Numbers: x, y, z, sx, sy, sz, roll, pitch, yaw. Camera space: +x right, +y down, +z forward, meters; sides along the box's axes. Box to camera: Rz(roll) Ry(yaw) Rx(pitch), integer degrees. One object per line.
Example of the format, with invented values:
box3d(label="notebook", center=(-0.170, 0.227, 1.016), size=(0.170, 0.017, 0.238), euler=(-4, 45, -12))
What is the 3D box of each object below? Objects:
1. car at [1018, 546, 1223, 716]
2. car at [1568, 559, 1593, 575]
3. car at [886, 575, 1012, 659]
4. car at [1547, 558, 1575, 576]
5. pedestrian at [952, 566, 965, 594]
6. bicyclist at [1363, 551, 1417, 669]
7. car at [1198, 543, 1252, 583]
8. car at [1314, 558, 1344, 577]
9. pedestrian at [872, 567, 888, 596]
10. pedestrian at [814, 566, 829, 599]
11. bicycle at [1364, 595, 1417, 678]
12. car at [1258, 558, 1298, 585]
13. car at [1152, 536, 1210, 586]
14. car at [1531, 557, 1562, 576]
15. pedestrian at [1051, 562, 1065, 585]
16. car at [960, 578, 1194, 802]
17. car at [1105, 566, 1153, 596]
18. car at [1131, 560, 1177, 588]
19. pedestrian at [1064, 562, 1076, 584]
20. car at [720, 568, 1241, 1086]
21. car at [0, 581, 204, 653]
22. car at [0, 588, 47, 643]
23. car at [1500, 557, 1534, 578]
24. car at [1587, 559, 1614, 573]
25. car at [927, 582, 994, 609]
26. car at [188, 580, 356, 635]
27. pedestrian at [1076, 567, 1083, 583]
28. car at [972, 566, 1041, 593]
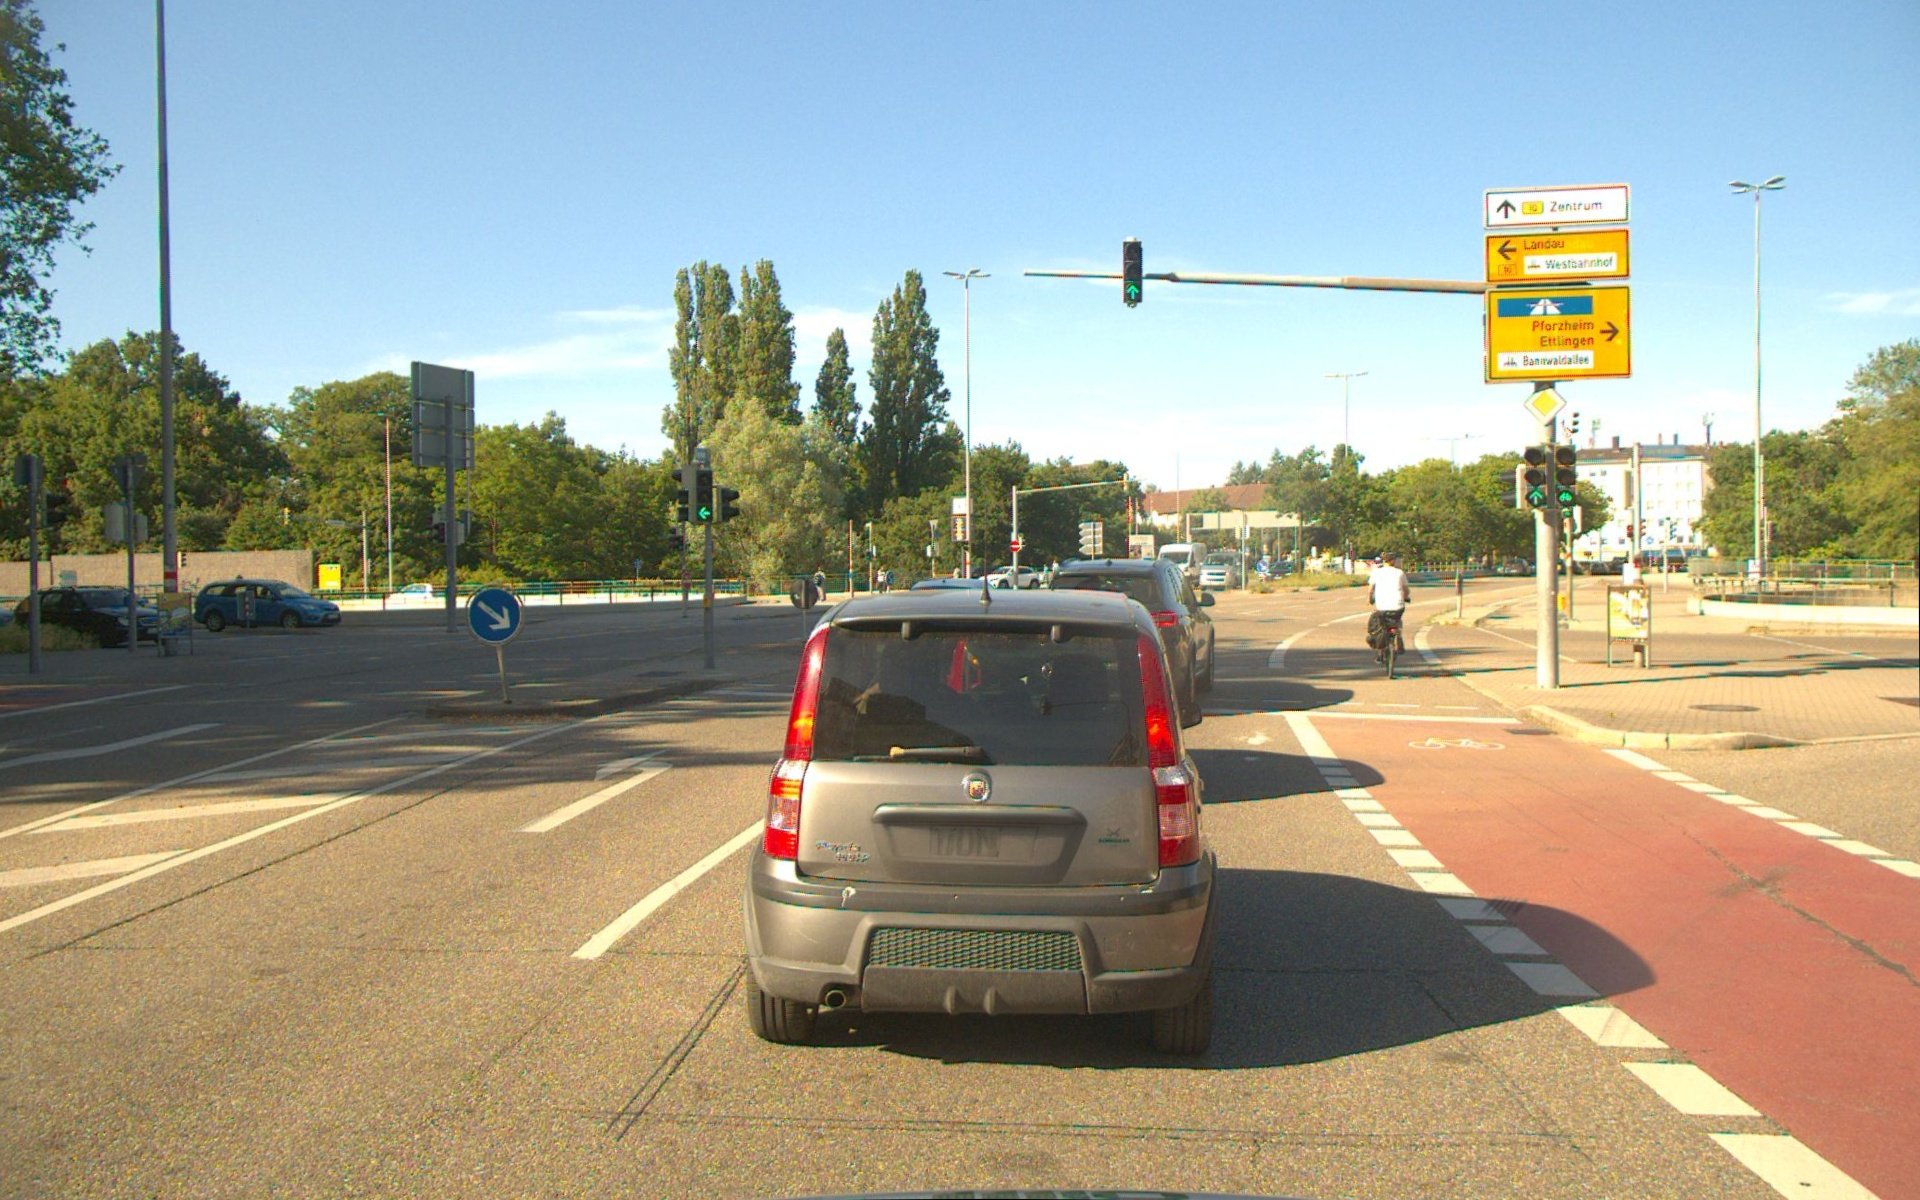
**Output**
box3d(label="car", center=(2.099, 0.296, 20.454), size=(1.904, 1.872, 4.156), euler=(0, 1, 14))
box3d(label="car", center=(62.768, -3.352, 167.320), size=(1.908, 1.555, 4.092), euler=(0, 1, 28))
box3d(label="car", center=(-0.132, 0.274, 31.294), size=(1.742, 1.439, 4.323), euler=(0, 1, 8))
box3d(label="car", center=(55.712, -3.060, 153.340), size=(1.908, 1.555, 4.092), euler=(0, 1, 28))
box3d(label="pedestrian", center=(-0.071, -1.128, 95.220), size=(0.547, 1.574, 0.573), euler=(-2, 0, -16))
box3d(label="bicyclist", center=(6.317, 0.126, 24.341), size=(0.708, 1.688, 1.114), euler=(1, 1, 12))
box3d(label="car", center=(13.965, -1.950, 86.964), size=(1.896, 2.043, 4.933), euler=(0, 1, 19))
box3d(label="car", center=(38.486, -3.402, 172.264), size=(1.956, 1.847, 3.992), euler=(1, 0, 30))
box3d(label="pedestrian", center=(-4.497, -1.042, 93.335), size=(0.698, 1.574, 0.725), euler=(-2, -1, -16))
box3d(label="pedestrian", center=(-6.267, -0.794, 74.749), size=(0.666, 1.488, 0.702), euler=(-1, 1, -7))
box3d(label="bicycle", center=(6.326, 0.517, 24.381), size=(0.676, 1.121, 1.828), euler=(1, 1, 12))
box3d(label="car", center=(20.392, -1.821, 105.978), size=(1.896, 1.650, 4.508), euler=(0, 1, 19))
box3d(label="car", center=(12.191, -2.166, 90.925), size=(1.896, 2.621, 6.091), euler=(0, 1, 19))
box3d(label="car", center=(49.521, -2.828, 139.661), size=(1.908, 1.555, 4.092), euler=(0, 1, 28))
box3d(label="pedestrian", center=(7.252, -1.961, 122.005), size=(0.625, 1.693, 0.779), euler=(1, -1, -45))
box3d(label="car", center=(0.947, 0.597, 13.207), size=(1.583, 1.488, 3.753), euler=(-1, 1, 4))
box3d(label="car", center=(9.417, -1.074, 91.869), size=(1.896, 1.534, 4.003), euler=(-2, 1, 17))
box3d(label="car", center=(11.591, -1.575, 98.505), size=(1.773, 1.568, 4.619), euler=(-2, 1, 18))
box3d(label="pedestrian", center=(8.401, -2.097, 126.507), size=(0.706, 1.670, 0.672), euler=(1, -1, 24))
box3d(label="car", center=(0.204, 0.652, 6.971), size=(1.583, 1.542, 3.822), euler=(1, 1, 4))
box3d(label="car", center=(-21.046, 0.410, 40.190), size=(4.668, 1.649, 1.953), euler=(0, 1, 15))
box3d(label="car", center=(-26.383, 0.395, 43.490), size=(4.404, 1.381, 1.879), euler=(0, 1, 24))
box3d(label="car", center=(43.621, -2.548, 129.476), size=(1.907, 1.555, 4.093), euler=(0, 1, 27))
box3d(label="car", center=(73.032, -3.924, 188.576), size=(1.913, 1.555, 4.082), euler=(0, 1, 36))
box3d(label="car", center=(0.031, -0.276, 104.024), size=(3.961, 1.653, 1.874), euler=(1, 0, -39))
box3d(label="car", center=(-20.753, 0.221, 49.958), size=(4.348, 1.567, 1.953), euler=(-1, 1, 13))
box3d(label="pedestrian", center=(9.108, -1.906, 126.229), size=(0.415, 1.156, 0.397), euler=(1, -1, 24))
box3d(label="car", center=(2.878, -1.278, 101.940), size=(4.292, 1.562, 1.758), euler=(-2, 3, -42))
